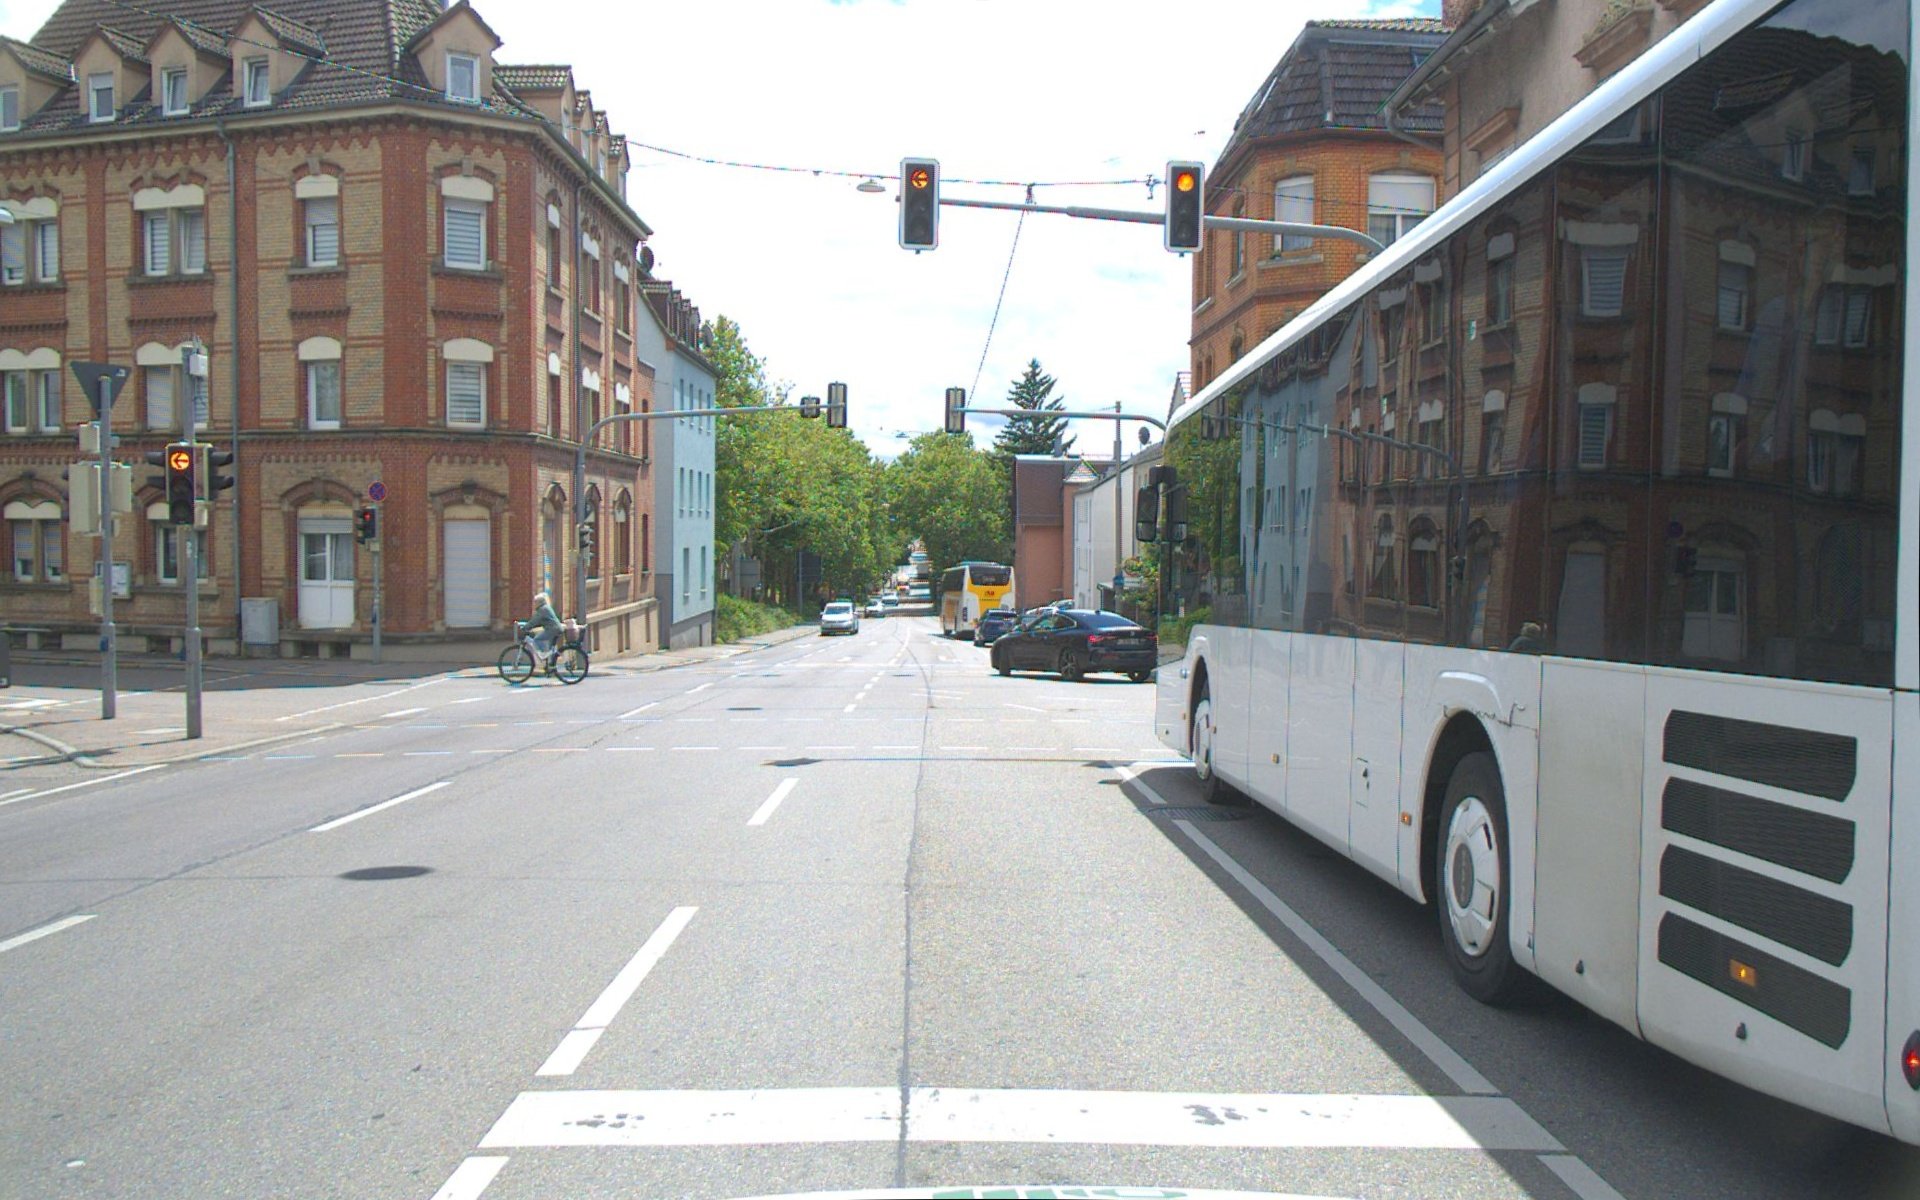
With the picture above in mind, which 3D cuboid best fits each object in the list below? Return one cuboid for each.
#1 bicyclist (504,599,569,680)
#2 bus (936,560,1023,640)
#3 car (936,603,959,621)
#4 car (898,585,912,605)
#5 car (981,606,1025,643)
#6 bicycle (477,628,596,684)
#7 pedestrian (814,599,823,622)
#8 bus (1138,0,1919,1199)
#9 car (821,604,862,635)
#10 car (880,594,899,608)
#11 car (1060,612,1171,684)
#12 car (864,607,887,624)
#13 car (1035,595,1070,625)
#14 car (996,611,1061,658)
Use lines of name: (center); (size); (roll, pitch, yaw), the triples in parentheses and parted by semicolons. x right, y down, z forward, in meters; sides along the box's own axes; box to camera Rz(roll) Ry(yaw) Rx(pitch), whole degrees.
bicyclist: (-8.094, 0.750, 31.652); (1.048, 1.526, 0.590); (0, 0, 7)
bus: (0.833, -0.007, 82.793); (3.236, 3.694, 11.232); (-1, 0, -5)
car: (-1.156, 1.038, 147.220); (1.843, 1.518, 3.997); (0, 0, -4)
car: (-8.604, -0.738, 261.117); (2.098, 3.124, 5.625); (1, 0, -1)
car: (1.690, 0.969, 66.036); (1.576, 1.400, 3.999); (0, 0, -1)
bicycle: (-8.100, 1.065, 31.663); (2.138, 1.037, 0.606); (0, 0, 7)
pedestrian: (-10.962, 0.813, 128.120); (0.594, 1.789, 0.653); (0, 0, -2)
bus: (3.213, -0.160, 9.302); (2.845, 3.571, 12.484); (1, 0, -1)
car: (-6.335, 1.037, 88.718); (1.896, 1.591, 4.388); (0, 0, -1)
car: (-8.508, 0.164, 199.430); (2.162, 1.641, 4.546); (0, 0, -1)
car: (3.042, 0.916, 33.050); (1.761, 1.298, 3.999); (-1, 0, -1)
car: (-7.068, 1.263, 138.676); (1.827, 1.391, 4.546); (0, 0, -1)
car: (5.201, 0.547, 93.375); (1.731, 1.695, 3.999); (0, 0, -1)
car: (2.149, 1.061, 52.781); (1.827, 1.391, 4.546); (0, 0, -1)
